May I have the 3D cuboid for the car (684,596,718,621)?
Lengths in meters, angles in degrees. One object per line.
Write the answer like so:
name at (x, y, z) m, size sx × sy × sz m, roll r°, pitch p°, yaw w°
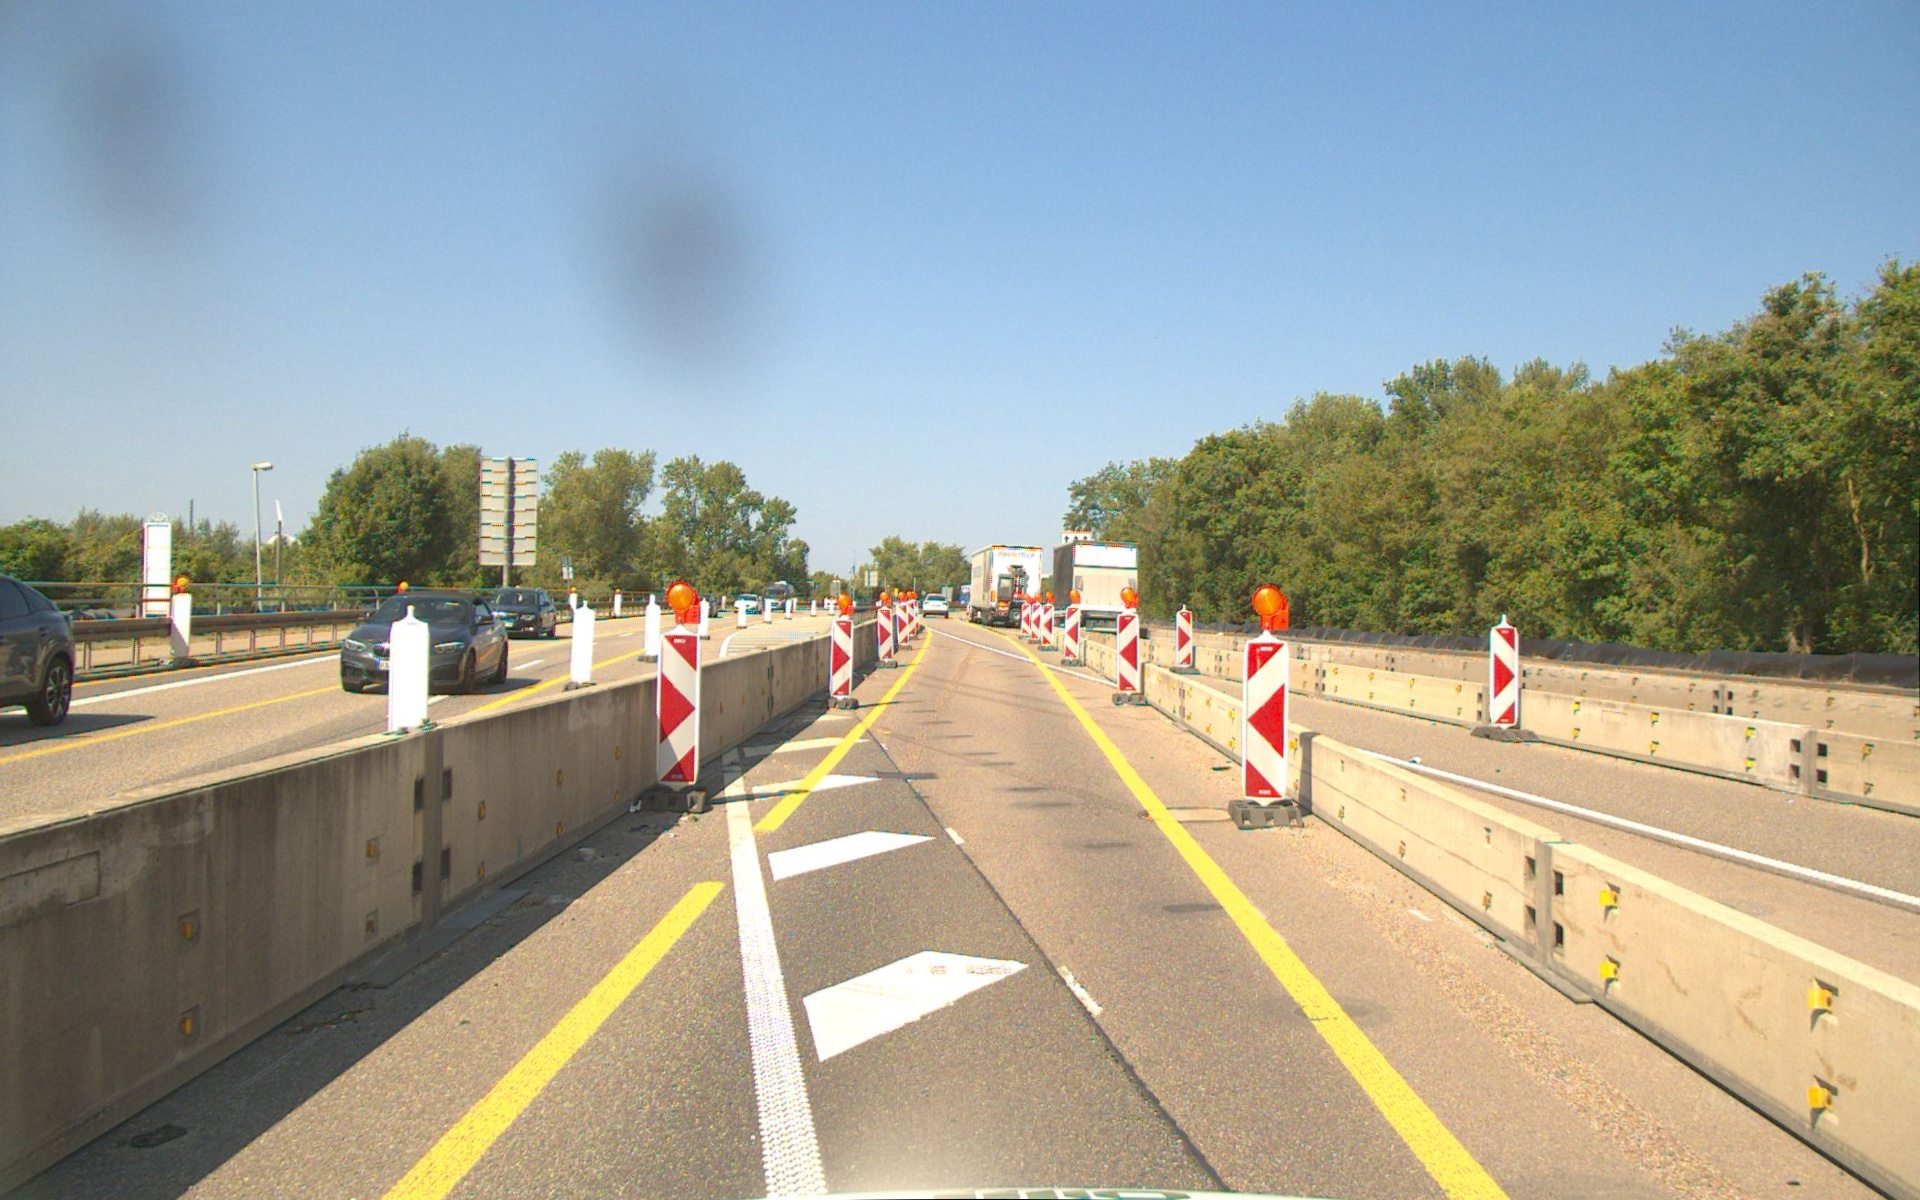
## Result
car at (-15.846, 0.492, 101.404) m, size 1.703 × 1.502 × 4.641 m, roll 0°, pitch 0°, yaw -5°

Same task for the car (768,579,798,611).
car at (-15.541, -0.434, 145.301) m, size 2.102 × 2.707 × 5.545 m, roll 1°, pitch 0°, yaw -1°

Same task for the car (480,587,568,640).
car at (-12.807, 0.379, 48.833) m, size 1.634 × 1.467 × 4.992 m, roll 1°, pitch 0°, yaw -5°

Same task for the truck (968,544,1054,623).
truck at (2.505, -0.828, 84.204) m, size 3.324 × 3.840 × 7.221 m, roll 0°, pitch 0°, yaw -7°

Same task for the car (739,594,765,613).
car at (-15.951, 0.254, 126.967) m, size 1.685 × 1.421 × 4.516 m, roll 2°, pitch 0°, yaw -4°

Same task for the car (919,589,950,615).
car at (-1.776, 0.120, 114.552) m, size 1.782 × 1.807 × 3.994 m, roll 0°, pitch 0°, yaw -7°

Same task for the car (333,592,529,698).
car at (-7.635, 0.595, 24.288) m, size 1.655 × 1.400 × 4.271 m, roll 1°, pitch 0°, yaw -3°

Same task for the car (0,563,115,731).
car at (-9.666, 0.416, 15.069) m, size 1.894 × 1.534 × 4.465 m, roll 1°, pitch 0°, yaw -4°

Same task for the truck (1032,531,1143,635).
truck at (4.495, -0.622, 59.949) m, size 2.584 × 3.487 × 7.222 m, roll 1°, pitch 0°, yaw -7°
